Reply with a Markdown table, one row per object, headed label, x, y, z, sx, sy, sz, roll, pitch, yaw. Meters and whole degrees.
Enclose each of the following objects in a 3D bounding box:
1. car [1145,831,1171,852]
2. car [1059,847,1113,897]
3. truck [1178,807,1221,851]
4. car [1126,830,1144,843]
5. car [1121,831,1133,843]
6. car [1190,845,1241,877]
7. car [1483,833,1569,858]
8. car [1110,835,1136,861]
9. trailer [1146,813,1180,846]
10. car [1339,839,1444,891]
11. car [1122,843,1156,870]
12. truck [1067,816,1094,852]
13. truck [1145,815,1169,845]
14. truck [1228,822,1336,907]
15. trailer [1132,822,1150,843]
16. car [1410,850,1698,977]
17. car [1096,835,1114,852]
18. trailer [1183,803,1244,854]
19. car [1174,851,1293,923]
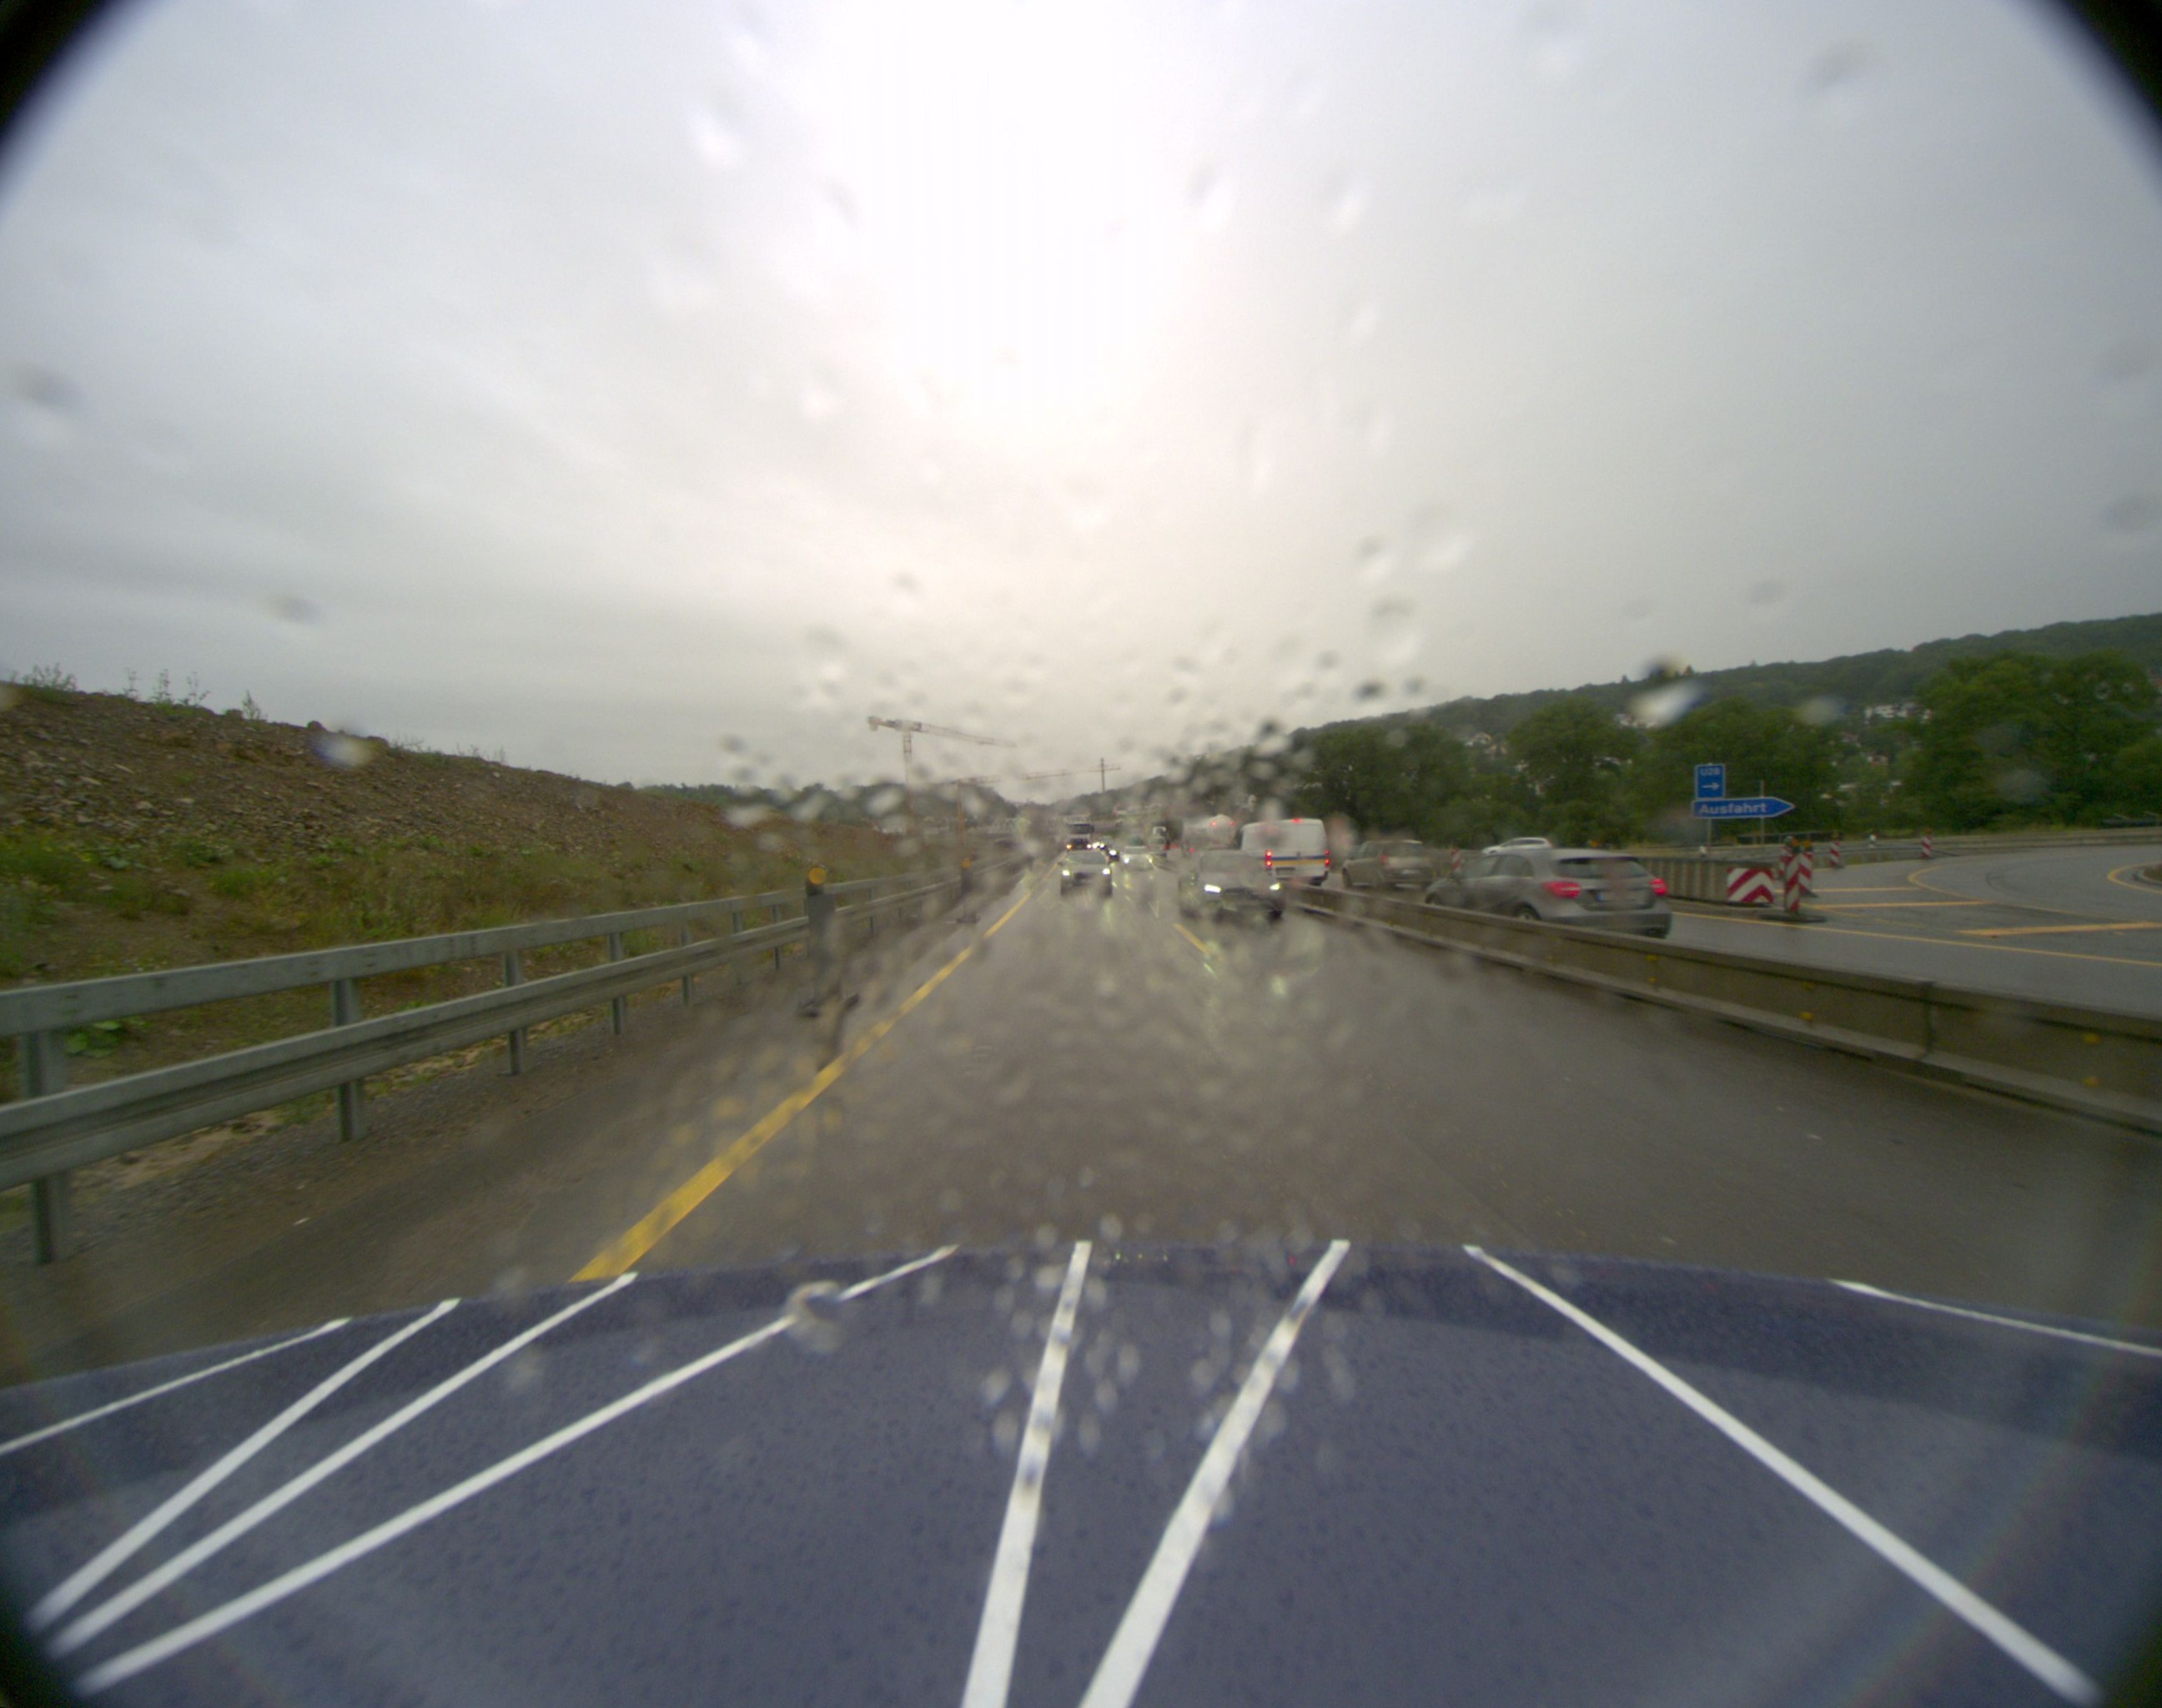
| label | x | y | z | sx | sy | sz | roll | pitch | yaw |
| --- | --- | --- | --- | --- | --- | --- | --- | --- | --- |
| car | 6.883 | -1.185 | 68.670 | 1.870 | 1.790 | 4.161 | -2 | 2 | 0 |
| car | 0.193 | 0.595 | 27.658 | 1.781 | 1.514 | 4.139 | -2 | 2 | 1 |
| truck | 10.457 | -2.209 | 67.670 | 2.627 | 3.657 | 6.592 | -2 | 2 | 0 |
| car | 7.286 | -2.362 | 102.842 | 1.998 | 1.749 | 4.686 | -2 | 2 | 0 |
| car | 7.652 | -2.861 | 126.760 | 1.792 | 1.795 | 5.188 | 0 | 2 | 0 |
| car | 6.941 | 0.323 | 39.691 | 1.777 | 1.496 | 4.678 | -1 | 1 | 0 |
| car | 31.194 | -0.577 | 53.297 | 5.031 | 1.691 | 1.854 | 0 | 2 | 36 |
| car | 3.536 | -0.514 | 62.987 | 1.998 | 2.002 | 4.000 | -1 | 1 | 4 |
| trailer | 10.659 | -3.236 | 100.469 | 2.756 | 4.020 | 15.353 | -2 | 2 | 0 |
| car | 10.150 | 0.320 | 25.171 | 1.792 | 1.537 | 3.999 | -2 | 1 | 0 |
| car | 3.503 | 0.119 | 46.539 | 1.781 | 1.430 | 4.482 | -2 | 2 | 1 |
| truck | 0.029 | -2.078 | 77.898 | 2.575 | 3.451 | 6.625 | -2 | 2 | 1 |
| truck | 10.727 | -3.457 | 108.286 | 2.756 | 4.039 | 6.146 | -2 | 2 | 0 |
| truck | 6.745 | 0.238 | 26.303 | 2.084 | 2.562 | 5.959 | -2 | 2 | 0 |
| trailer | 11.600 | -4.258 | 148.184 | 2.693 | 3.941 | 9.816 | 0 | 2 | 0 |
| car | 6.921 | 0.744 | 11.777 | 1.791 | 1.529 | 4.311 | -1 | 1 | 0 |
| car | 3.058 | -1.385 | 97.375 | 1.998 | 2.001 | 4.187 | -2 | 0 | 0 |
| trailer | 10.492 | -2.017 | 61.524 | 2.627 | 3.657 | 11.999 | -2 | 2 | 0 |
| car | 3.444 | 0.690 | 18.013 | 1.951 | 1.430 | 4.484 | -2 | 0 | 1 |
